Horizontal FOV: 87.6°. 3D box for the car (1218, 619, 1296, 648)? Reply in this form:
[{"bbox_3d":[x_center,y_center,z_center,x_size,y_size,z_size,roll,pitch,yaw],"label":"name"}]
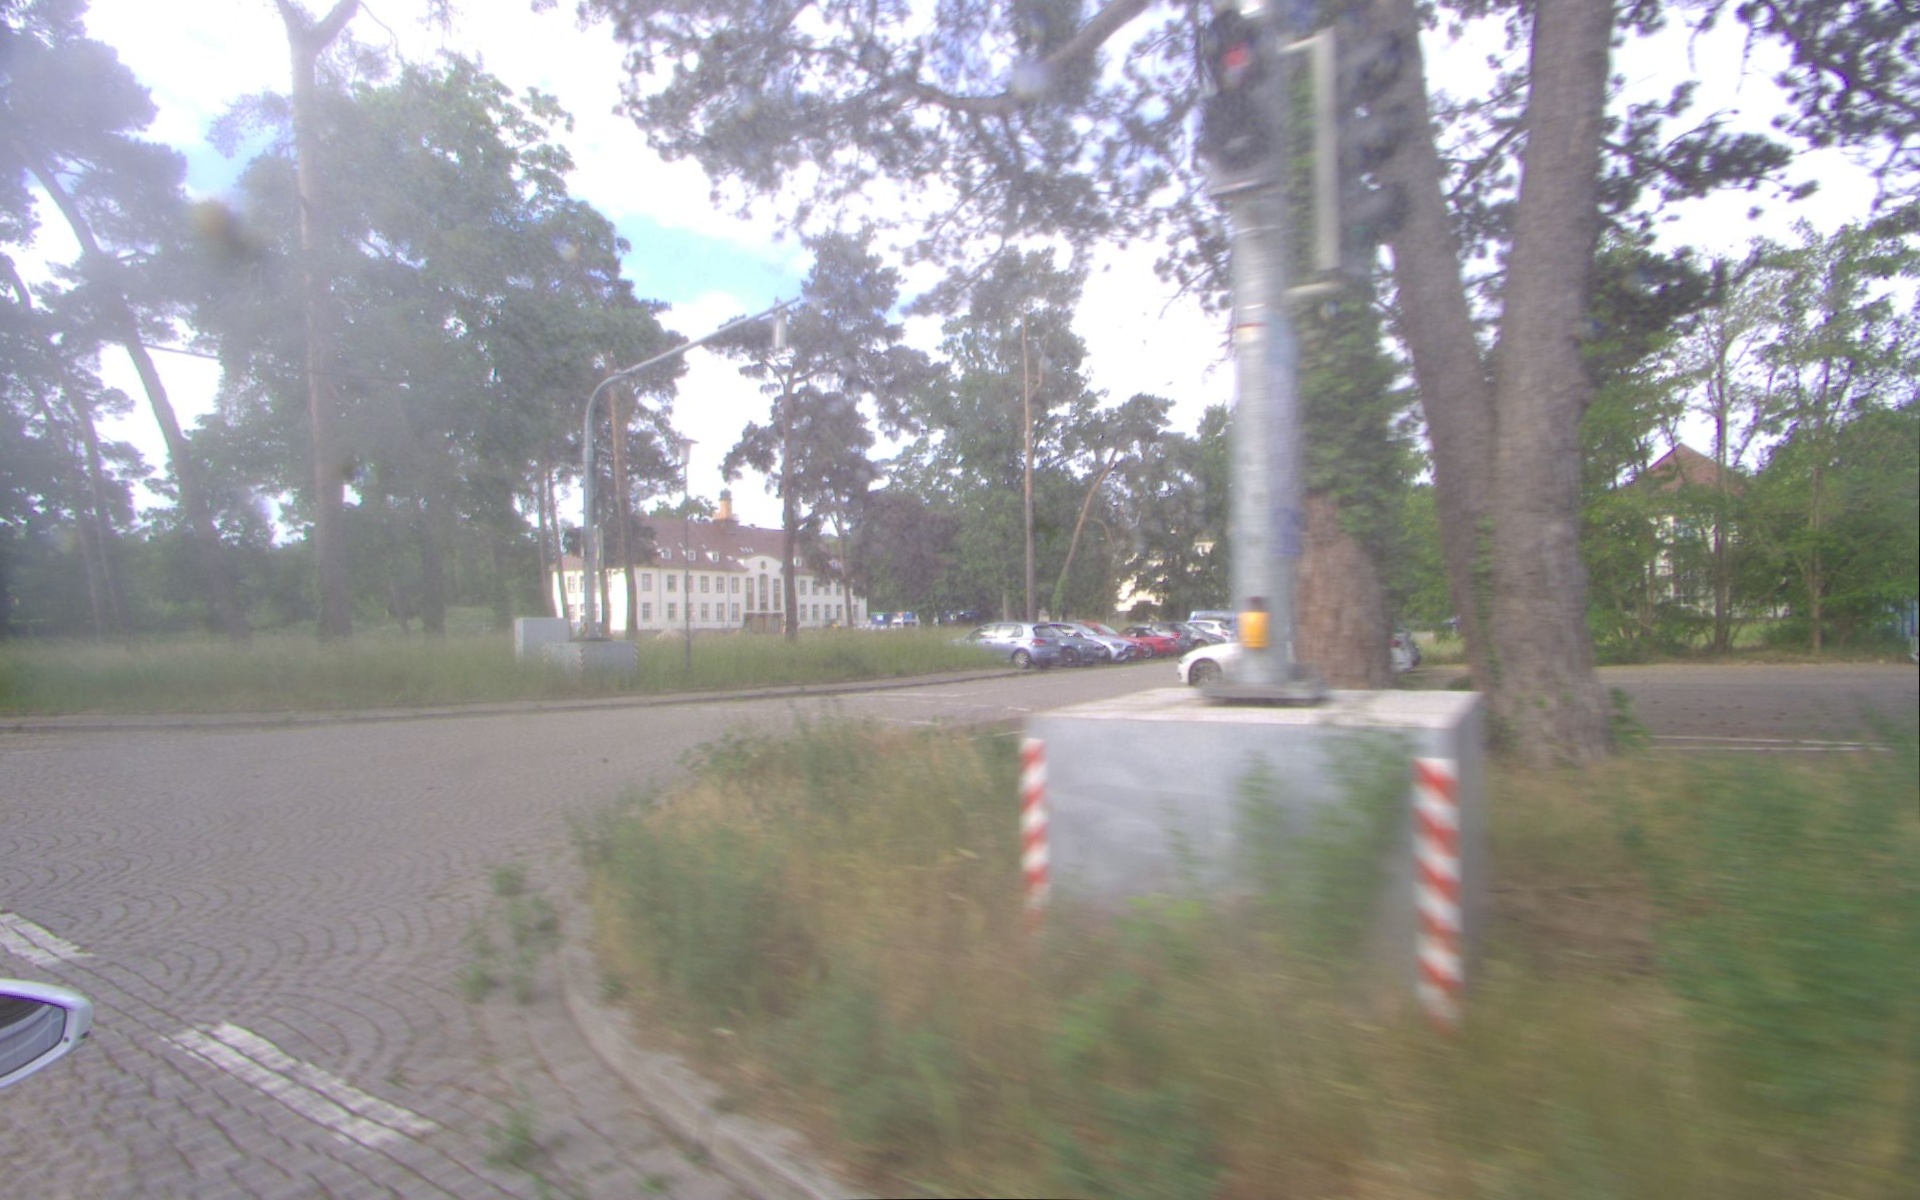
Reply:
[{"bbox_3d":[16.040,1.794,54.186,3.751,1.513,1.717,-1,0,31],"label":"car"}]

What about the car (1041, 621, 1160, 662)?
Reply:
[{"bbox_3d":[5.425,1.563,38.894,4.209,1.474,1.845,-1,0,34],"label":"car"}]

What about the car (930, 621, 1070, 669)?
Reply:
[{"bbox_3d":[1.266,1.420,32.557,4.285,1.489,1.816,-1,-1,35],"label":"car"}]

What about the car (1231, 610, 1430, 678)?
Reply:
[{"bbox_3d":[9.207,1.108,24.990,4.320,1.424,1.787,-5,-2,32],"label":"car"}]

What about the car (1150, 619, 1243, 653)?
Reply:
[{"bbox_3d":[11.297,1.684,47.901,3.965,1.521,1.831,-1,0,35],"label":"car"}]

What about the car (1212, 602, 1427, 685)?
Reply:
[{"bbox_3d":[8.064,1.010,22.539,4.279,1.594,1.820,-4,-3,29],"label":"car"}]

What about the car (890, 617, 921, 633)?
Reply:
[{"bbox_3d":[-7.274,3.382,134.544,2.040,2.121,4.324,-2,-3,33],"label":"car"}]

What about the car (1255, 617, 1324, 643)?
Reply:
[{"bbox_3d":[20.412,1.839,62.091,3.775,1.506,1.751,-1,0,34],"label":"car"}]

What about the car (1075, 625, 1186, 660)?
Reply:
[{"bbox_3d":[6.916,1.696,40.746,4.087,1.300,1.754,-1,-1,34],"label":"car"}]

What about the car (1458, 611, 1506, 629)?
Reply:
[{"bbox_3d":[62.259,2.369,119.550,4.923,2.099,2.042,0,-2,33],"label":"car"}]

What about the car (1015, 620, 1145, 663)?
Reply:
[{"bbox_3d":[4.377,1.495,36.831,4.391,1.474,1.938,-1,-1,35],"label":"car"}]

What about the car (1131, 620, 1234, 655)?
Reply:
[{"bbox_3d":[10.039,1.657,45.312,4.261,1.500,1.720,-1,0,35],"label":"car"}]

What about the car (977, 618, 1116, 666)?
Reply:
[{"bbox_3d":[2.963,1.408,34.564,4.449,1.557,1.862,-1,-1,31],"label":"car"}]

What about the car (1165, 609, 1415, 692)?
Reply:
[{"bbox_3d":[6.671,1.056,20.387,4.500,1.443,1.819,-4,-3,31],"label":"car"}]

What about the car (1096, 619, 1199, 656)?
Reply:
[{"bbox_3d":[8.070,1.590,43.183,4.046,1.500,1.744,-1,0,35],"label":"car"}]

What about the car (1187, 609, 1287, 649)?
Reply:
[{"bbox_3d":[14.417,1.503,52.151,4.658,2.006,2.027,-1,0,33],"label":"car"}]
